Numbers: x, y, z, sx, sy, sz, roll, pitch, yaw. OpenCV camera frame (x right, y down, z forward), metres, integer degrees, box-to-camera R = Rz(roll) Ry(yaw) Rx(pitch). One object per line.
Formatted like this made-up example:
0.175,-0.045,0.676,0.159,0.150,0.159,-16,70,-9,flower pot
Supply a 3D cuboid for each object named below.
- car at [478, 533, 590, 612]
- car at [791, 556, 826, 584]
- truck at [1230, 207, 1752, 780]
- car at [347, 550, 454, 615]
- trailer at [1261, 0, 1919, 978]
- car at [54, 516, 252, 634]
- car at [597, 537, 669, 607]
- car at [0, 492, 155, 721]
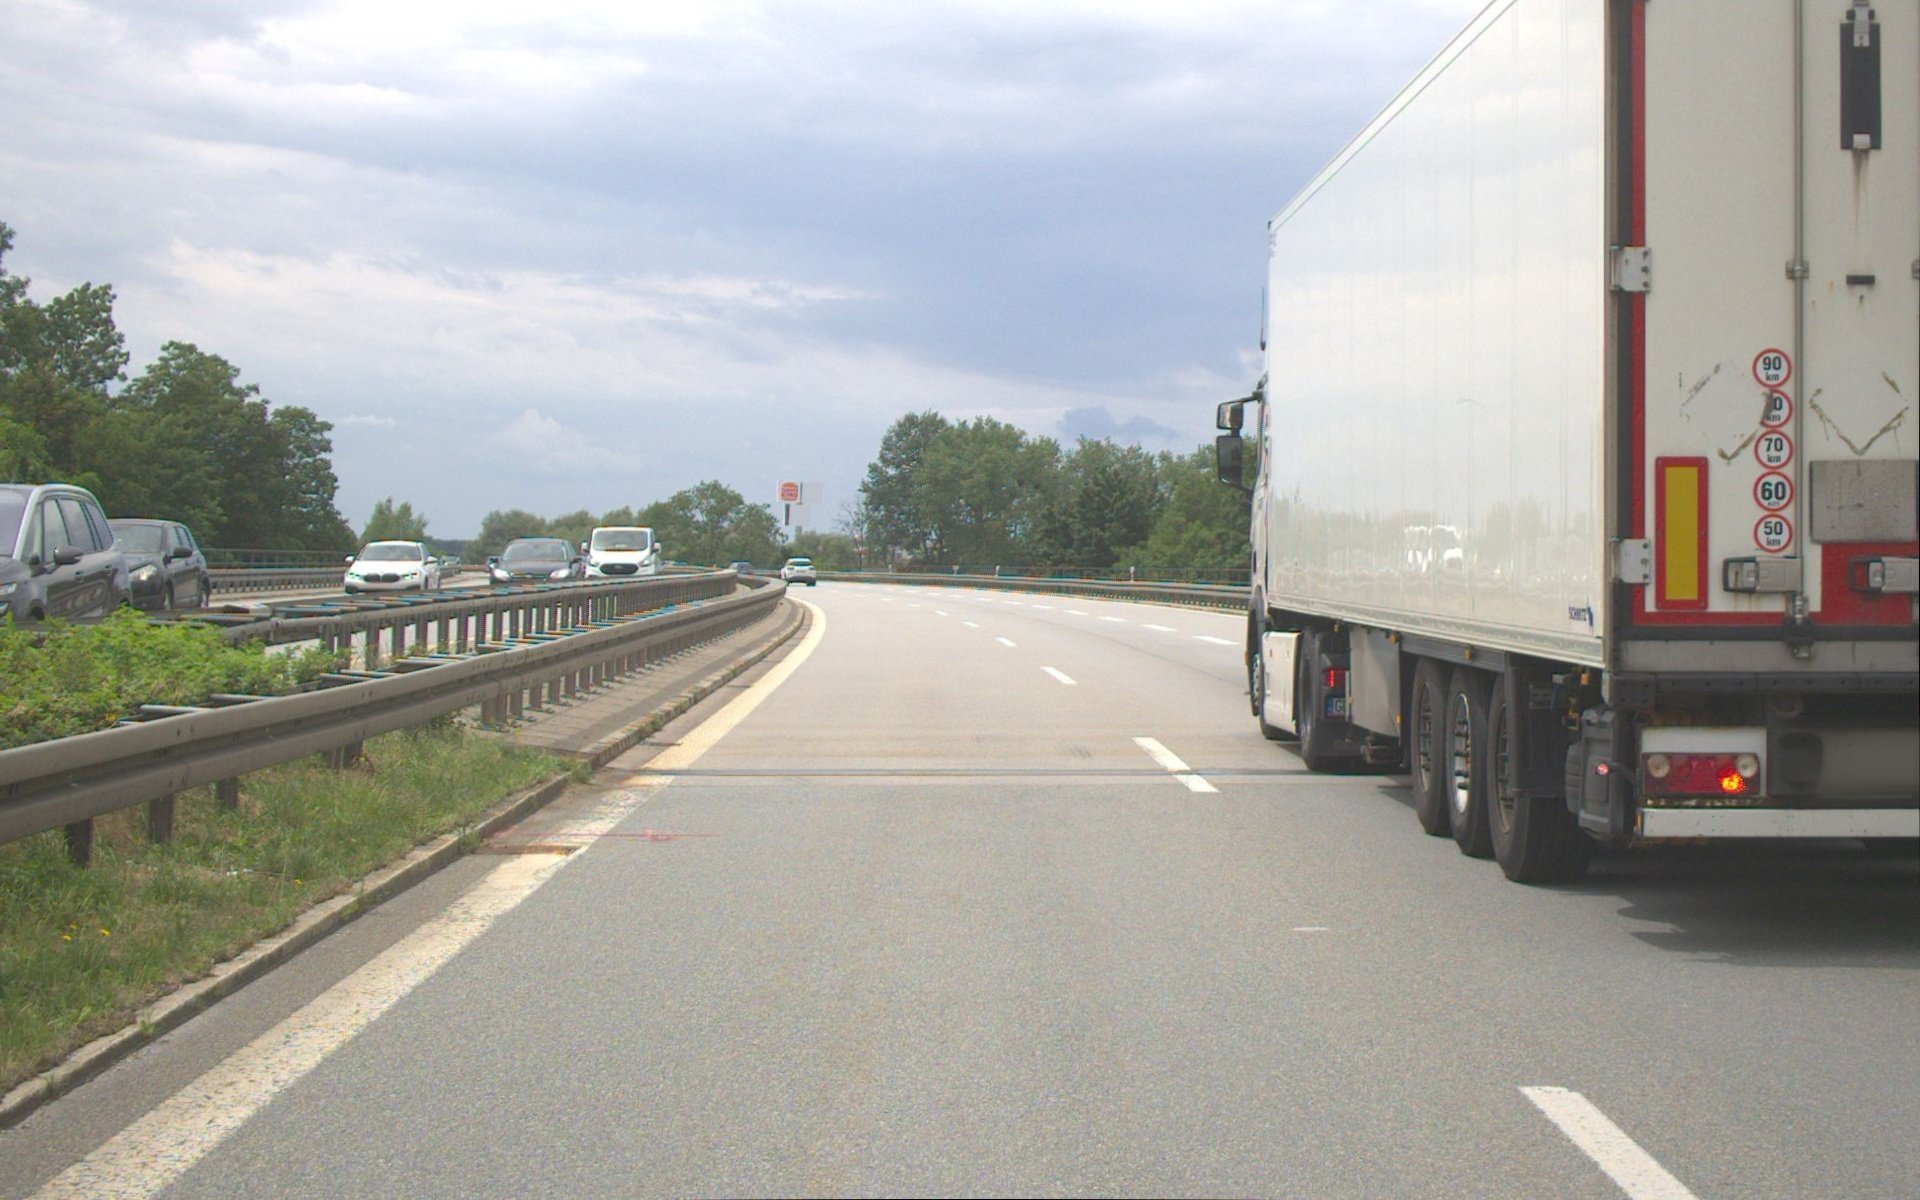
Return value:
-9.241,-0.606,74.871,1.845,1.606,4.947,2,1,-1,car
-9.215,-1.793,208.372,1.902,1.634,4.396,1,0,-5,car
3.840,-0.771,26.362,3.062,3.878,6.000,0,1,0,truck
-12.658,-0.407,77.927,1.845,1.433,3.936,0,1,-1,car
3.814,-0.682,19.300,3.062,3.877,13.791,0,1,0,trailer
-11.244,-0.368,48.168,1.729,1.554,4.331,1,1,0,car
-9.470,-0.835,99.748,1.771,1.904,4.715,2,1,-3,car
-7.676,-0.022,26.843,1.725,1.645,4.223,1,1,1,car
